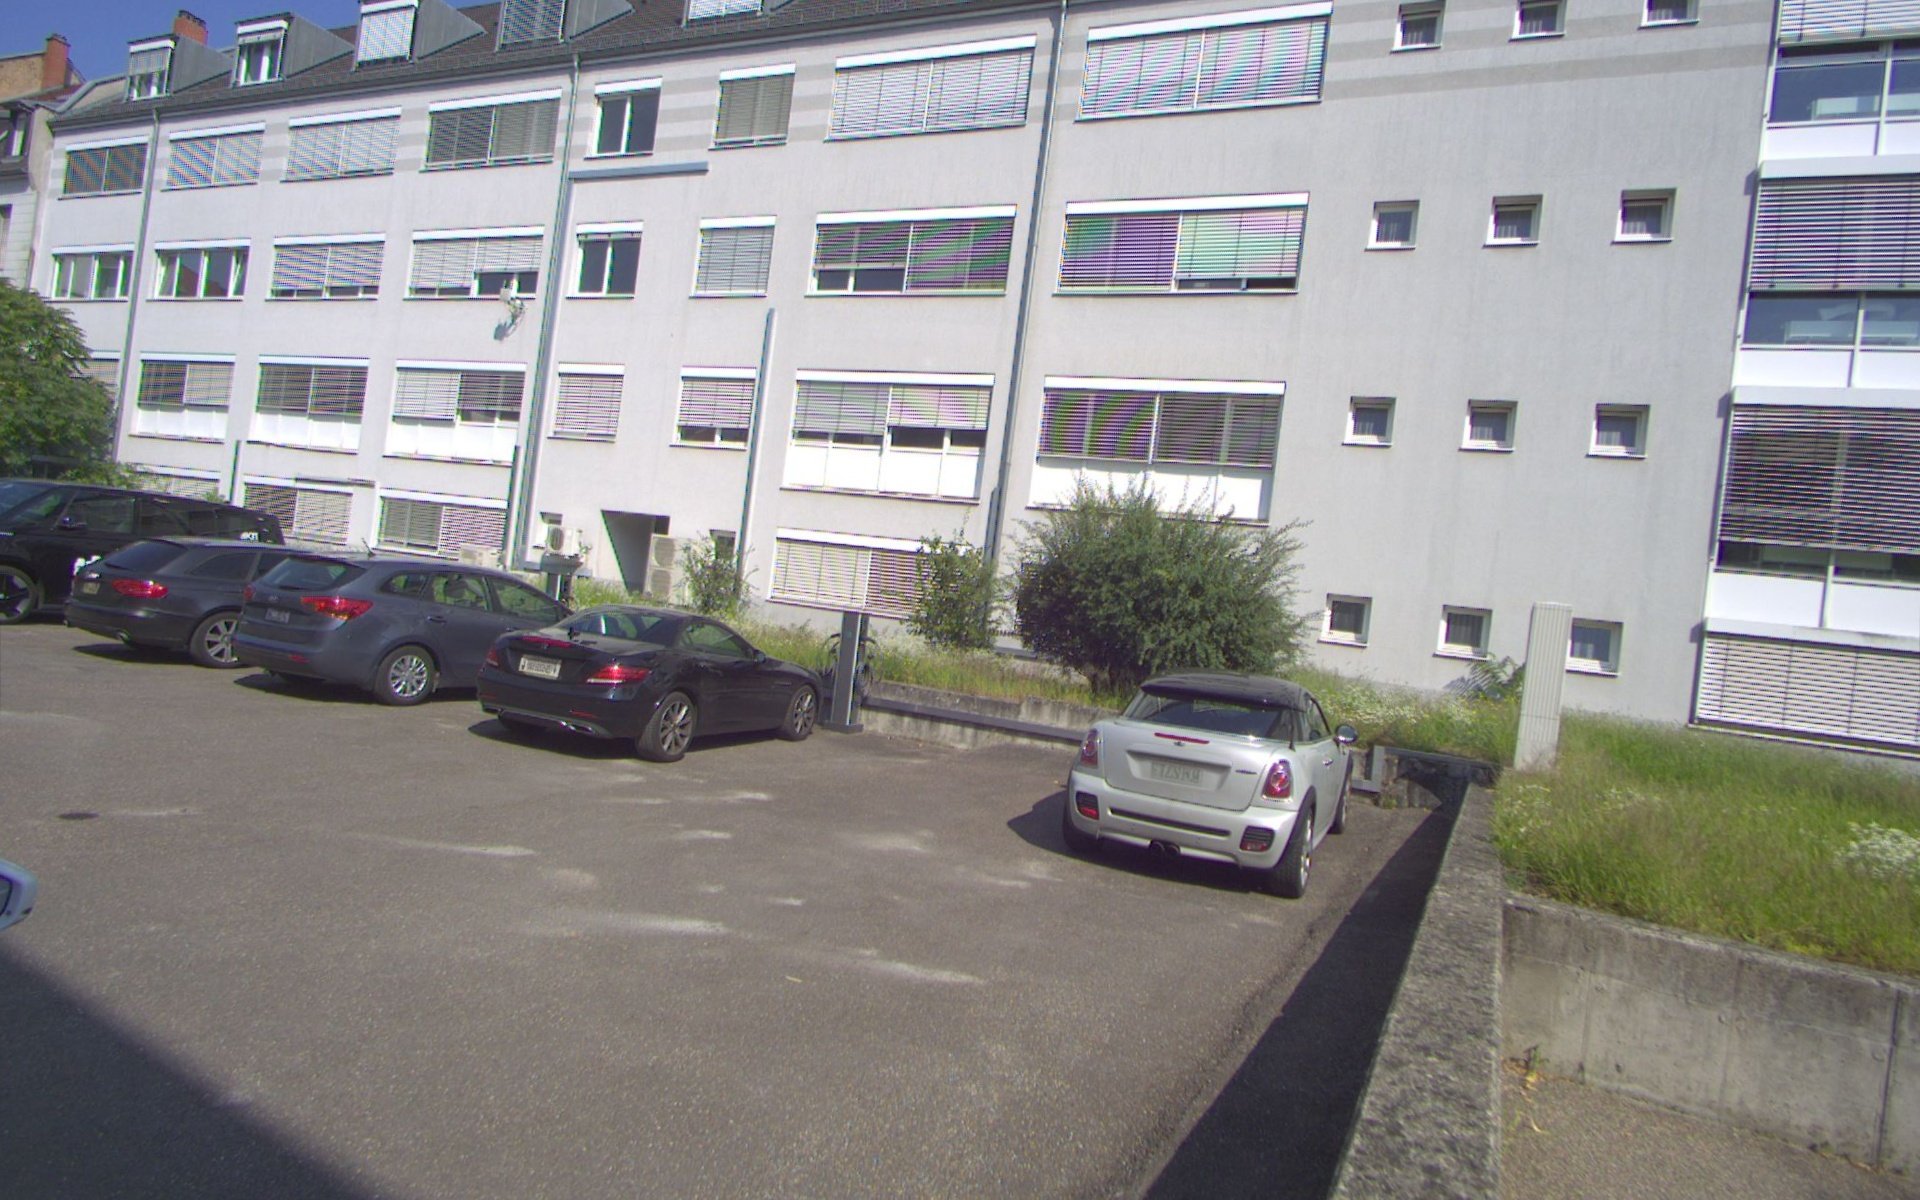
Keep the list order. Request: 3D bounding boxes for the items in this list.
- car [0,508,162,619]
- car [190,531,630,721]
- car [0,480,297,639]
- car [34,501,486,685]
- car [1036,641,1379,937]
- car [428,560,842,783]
[{"bbox_3d":[-14.786,-0.665,15.125,1.742,1.499,3.947,6,-2,20],"label":"car"},{"bbox_3d":[-5.851,0.388,11.268,1.845,1.607,3.876,6,-3,24],"label":"car"},{"bbox_3d":[-12.148,-0.541,14.029,1.848,1.815,4.518,6,-2,20],"label":"car"},{"bbox_3d":[-8.338,0.044,12.458,1.740,1.710,4.130,6,-3,26],"label":"car"},{"bbox_3d":[2.190,1.224,8.089,1.771,1.565,3.623,6,2,27],"label":"car"},{"bbox_3d":[-2.939,0.716,10.059,1.862,1.607,3.815,6,-3,19],"label":"car"}]
